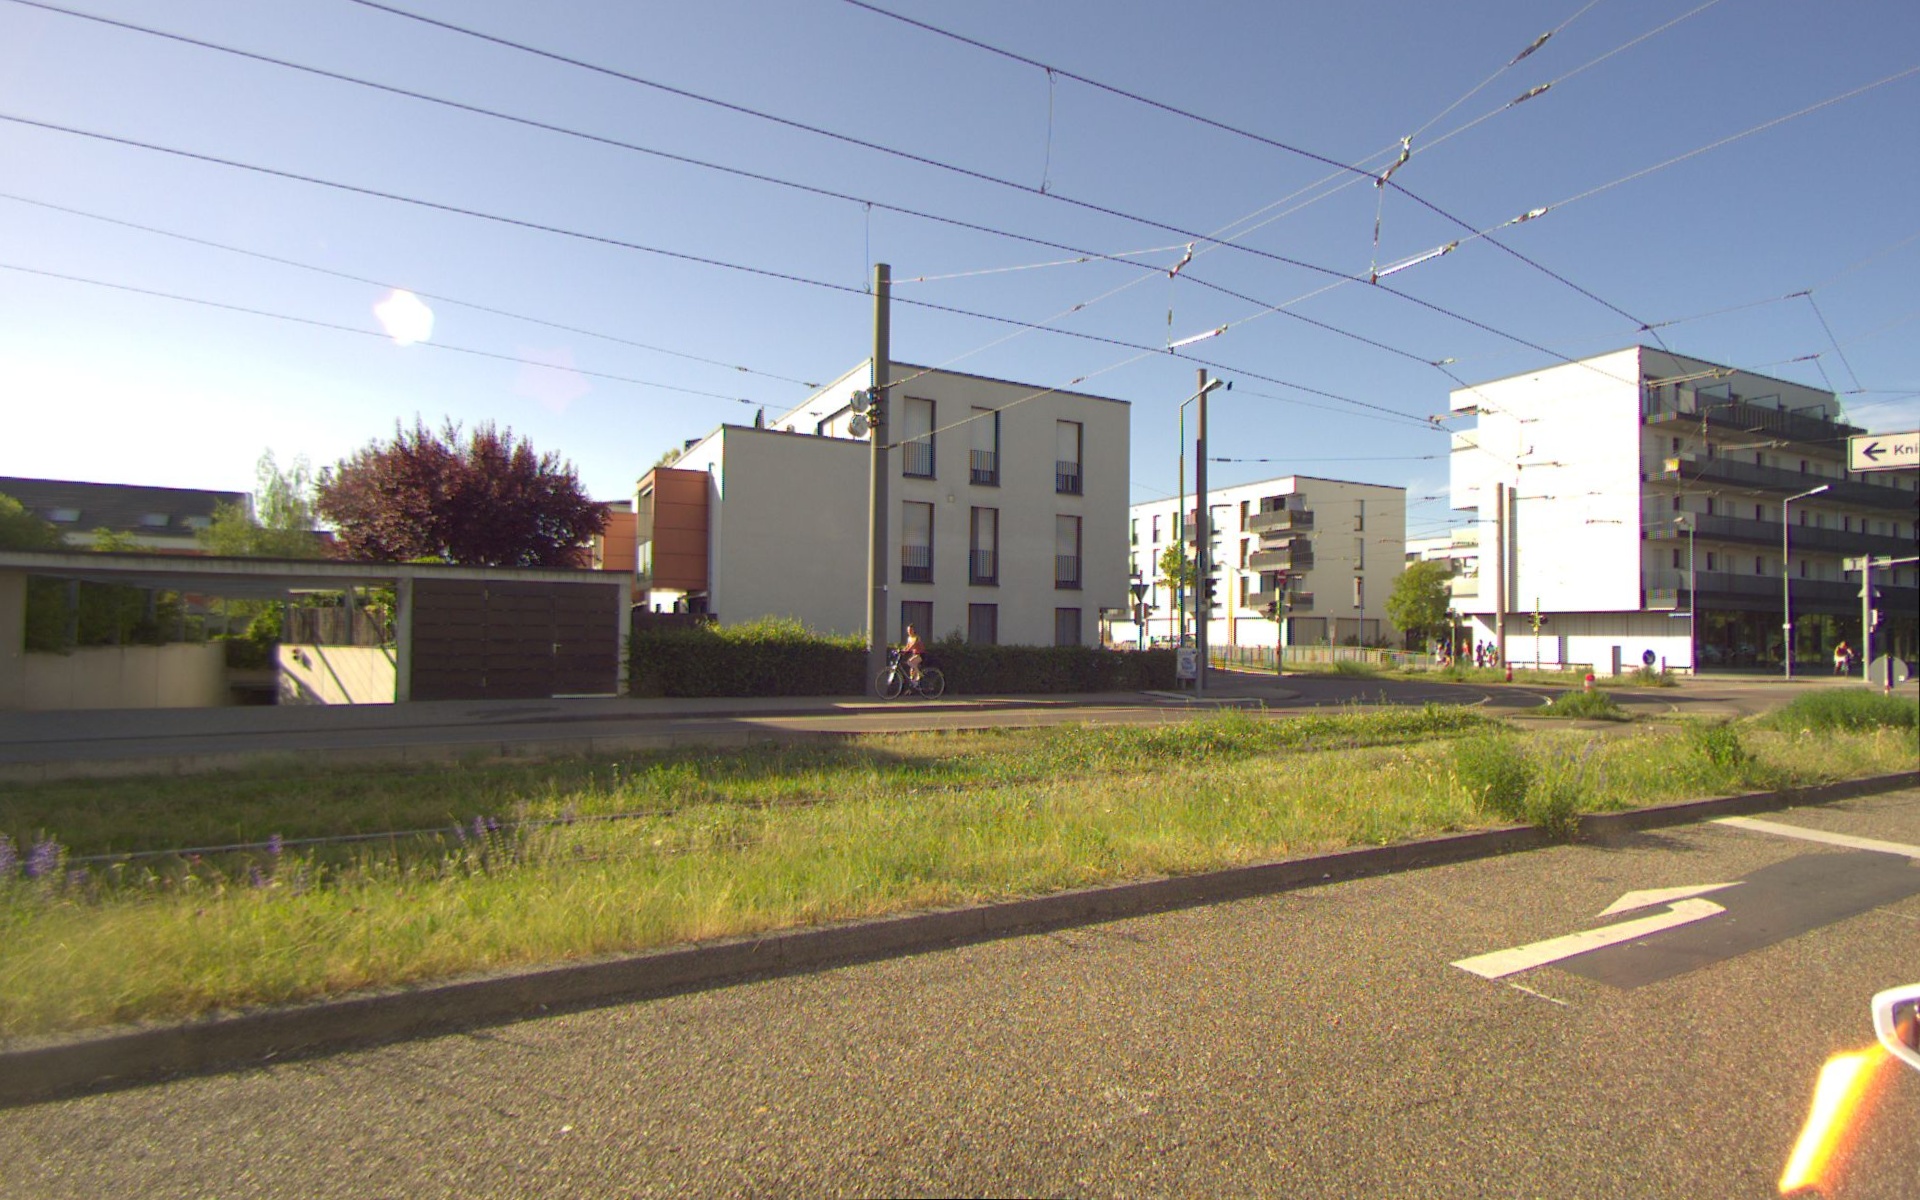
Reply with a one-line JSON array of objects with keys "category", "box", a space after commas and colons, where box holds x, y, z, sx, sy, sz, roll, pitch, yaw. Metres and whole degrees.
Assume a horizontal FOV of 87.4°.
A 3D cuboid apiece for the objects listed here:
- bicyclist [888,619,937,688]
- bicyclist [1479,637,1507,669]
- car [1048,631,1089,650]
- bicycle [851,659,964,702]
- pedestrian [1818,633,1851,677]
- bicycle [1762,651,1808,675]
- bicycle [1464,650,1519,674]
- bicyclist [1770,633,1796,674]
[{"category": "bicyclist", "box": [-1.073, 1.203, 22.713, 0.739, 1.510, 0.883, 2, -2, -36]}, {"category": "bicyclist", "box": [27.698, 2.755, 52.215, 0.899, 1.613, 0.891, 1, -2, -20]}, {"category": "car", "box": [10.005, 3.702, 92.978, 1.974, 1.574, 3.973, 2, 0, -26]}, {"category": "bicycle", "box": [-1.155, 1.794, 22.632, 2.460, 0.904, 0.894, 2, -3, -36]}, {"category": "pedestrian", "box": [41.373, 2.588, 47.524, 0.752, 2.040, 0.972, 2, -2, -31]}, {"category": "bicycle", "box": [40.933, 3.110, 49.863, 1.611, 1.159, 0.745, 0, -2, 21]}, {"category": "bicycle", "box": [27.611, 3.209, 52.164, 2.783, 1.214, 0.900, 1, -2, -20]}, {"category": "bicyclist", "box": [40.882, 2.647, 49.898, 0.779, 2.040, 0.811, 0, -2, 21]}]
